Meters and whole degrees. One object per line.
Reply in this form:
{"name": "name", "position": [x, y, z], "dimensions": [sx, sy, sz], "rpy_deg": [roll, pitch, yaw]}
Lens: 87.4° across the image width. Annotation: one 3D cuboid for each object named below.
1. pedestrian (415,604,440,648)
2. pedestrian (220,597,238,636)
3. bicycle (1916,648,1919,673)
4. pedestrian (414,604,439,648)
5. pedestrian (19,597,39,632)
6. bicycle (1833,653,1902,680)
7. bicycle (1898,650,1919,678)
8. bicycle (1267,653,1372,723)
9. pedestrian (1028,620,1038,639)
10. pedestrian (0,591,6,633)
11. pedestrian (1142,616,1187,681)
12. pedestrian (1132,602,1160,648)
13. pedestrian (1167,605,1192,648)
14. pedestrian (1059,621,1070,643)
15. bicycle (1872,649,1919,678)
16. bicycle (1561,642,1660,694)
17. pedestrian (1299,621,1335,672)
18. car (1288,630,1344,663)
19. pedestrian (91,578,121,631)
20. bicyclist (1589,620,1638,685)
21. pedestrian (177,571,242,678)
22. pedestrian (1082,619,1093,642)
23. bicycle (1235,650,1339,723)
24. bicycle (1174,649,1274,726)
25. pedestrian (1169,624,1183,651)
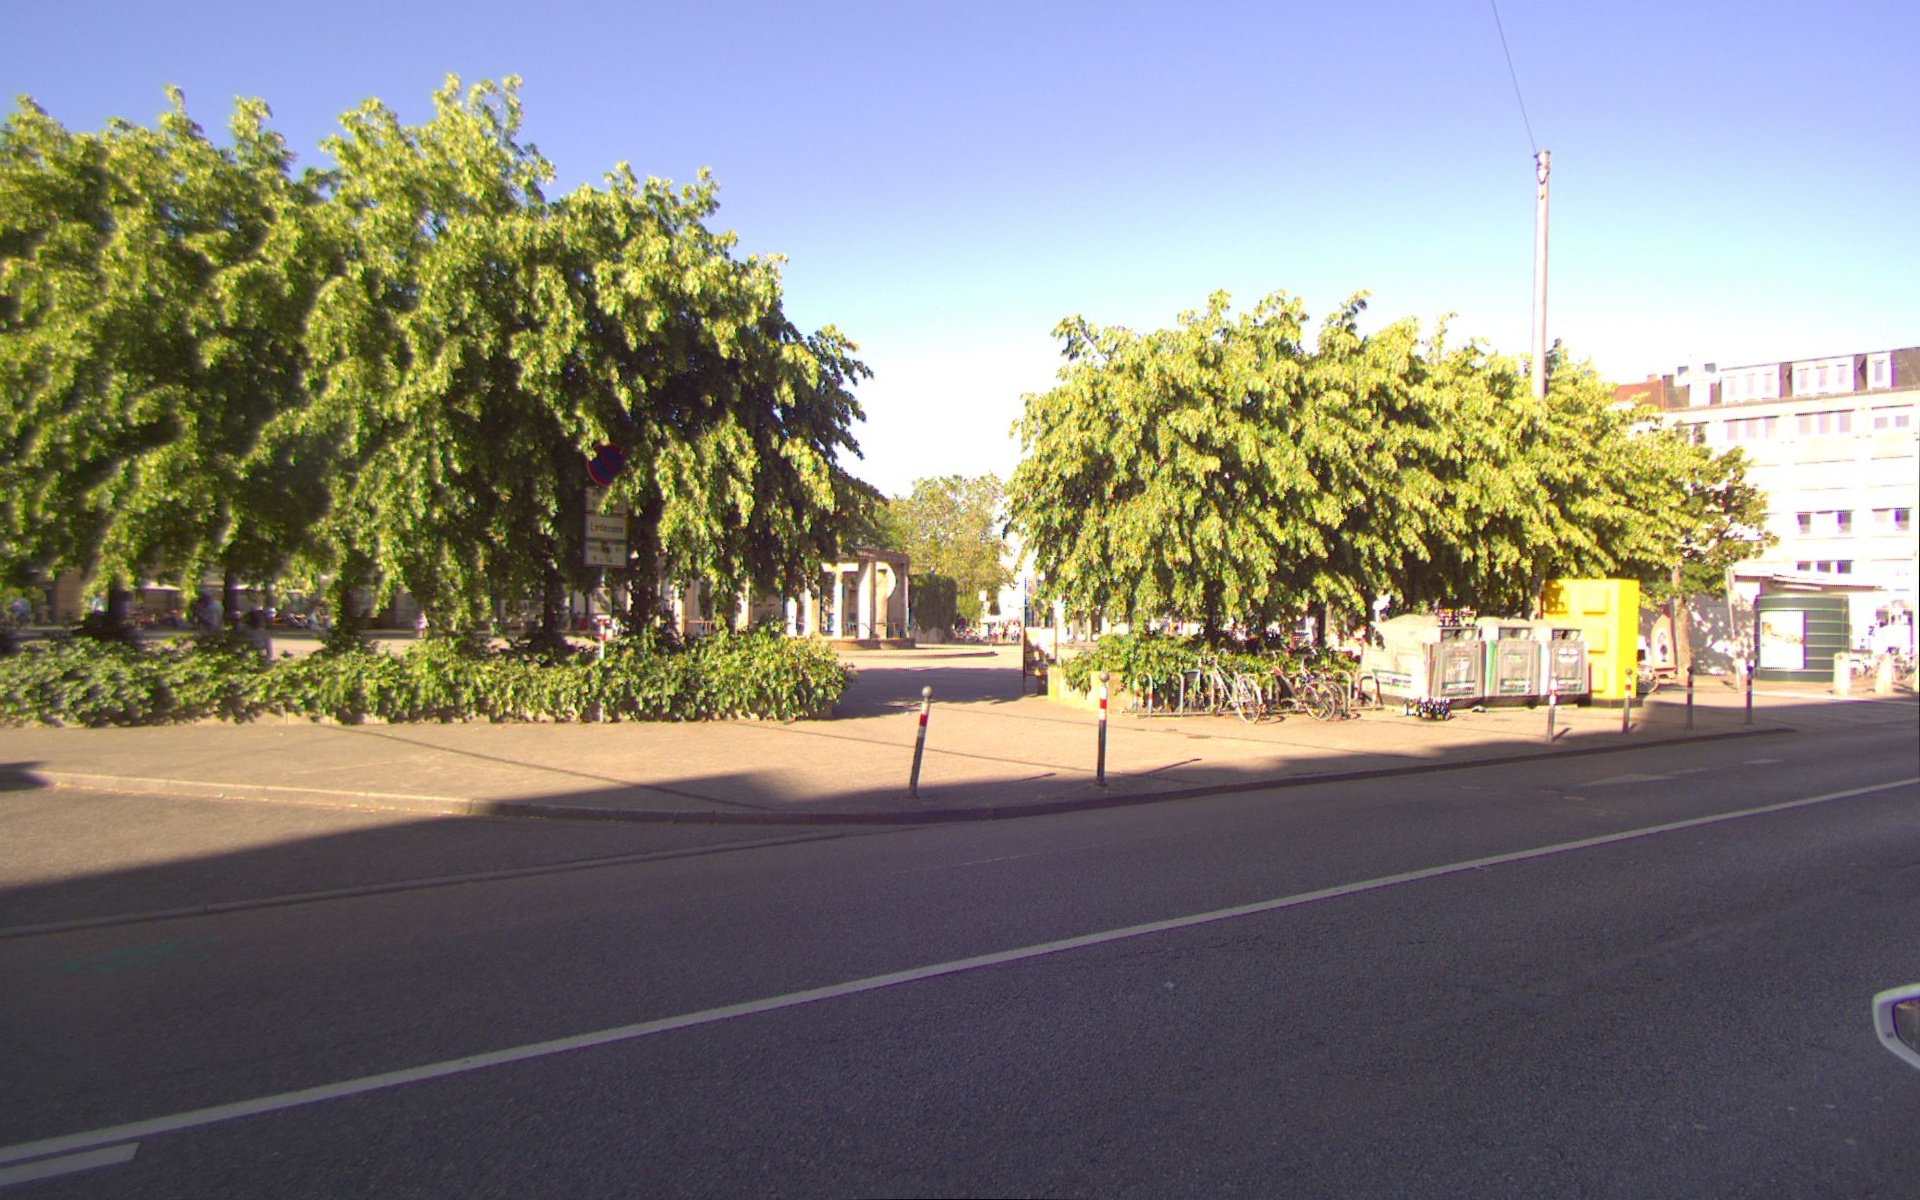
{"name": "pedestrian", "position": [-21.572, 1.048, 40.682], "dimensions": [0.599, 1.744, 0.644], "rpy_deg": [2, 0, 37]}
{"name": "pedestrian", "position": [-37.226, 0.846, 51.155], "dimensions": [0.669, 1.974, 0.634], "rpy_deg": [2, 0, -33]}
{"name": "bicycle", "position": [37.048, 2.327, 37.522], "dimensions": [0.599, 0.946, 1.854], "rpy_deg": [2, 0, -30]}
{"name": "pedestrian", "position": [-21.498, 1.049, 40.461], "dimensions": [0.598, 1.744, 0.645], "rpy_deg": [2, 0, 32]}
{"name": "pedestrian", "position": [-46.880, 0.716, 50.575], "dimensions": [0.599, 1.744, 0.644], "rpy_deg": [2, 0, 39]}
{"name": "bicycle", "position": [30.825, 2.248, 34.132], "dimensions": [0.600, 0.802, 1.634], "rpy_deg": [2, 0, -33]}
{"name": "bicycle", "position": [35.041, 2.334, 36.098], "dimensions": [0.599, 0.946, 1.854], "rpy_deg": [2, 0, -30]}
{"name": "bicycle", "position": [5.831, 1.403, 16.420], "dimensions": [0.508, 0.968, 1.898], "rpy_deg": [2, 0, -20]}
{"name": "pedestrian", "position": [7.965, 3.229, 109.775], "dimensions": [0.861, 2.040, 0.901], "rpy_deg": [2, 0, -9]}
{"name": "pedestrian", "position": [-39.716, 0.487, 41.317], "dimensions": [0.600, 1.744, 0.643], "rpy_deg": [2, 0, 45]}
{"name": "pedestrian", "position": [6.700, 1.574, 32.929], "dimensions": [0.967, 2.040, 1.042], "rpy_deg": [2, 0, -42]}
{"name": "pedestrian", "position": [8.365, 1.137, 45.182], "dimensions": [0.875, 2.040, 0.896], "rpy_deg": [1, 0, -17]}
{"name": "pedestrian", "position": [10.660, 1.280, 48.833], "dimensions": [0.875, 2.040, 0.896], "rpy_deg": [1, 0, -17]}
{"name": "pedestrian", "position": [10.056, 3.035, 96.420], "dimensions": [0.860, 2.040, 0.902], "rpy_deg": [2, 0, -5]}
{"name": "bicycle", "position": [33.202, 2.222, 35.110], "dimensions": [0.599, 0.946, 1.855], "rpy_deg": [1, -1, -30]}
{"name": "bicycle", "position": [15.582, 1.600, 24.085], "dimensions": [1.910, 1.133, 0.706], "rpy_deg": [1, -1, 39]}
{"name": "pedestrian", "position": [14.646, 1.906, 41.248], "dimensions": [1.034, 2.040, 1.038], "rpy_deg": [2, 0, -1]}
{"name": "car", "position": [16.930, 2.196, 47.892], "dimensions": [1.658, 1.405, 3.575], "rpy_deg": [1, -1, 5]}
{"name": "pedestrian", "position": [-28.436, 0.159, 33.444], "dimensions": [0.599, 1.744, 0.644], "rpy_deg": [2, 0, 41]}
{"name": "bicyclist", "position": [15.640, 1.235, 24.038], "dimensions": [0.880, 1.502, 0.698], "rpy_deg": [1, 0, 39]}
{"name": "pedestrian", "position": [-12.064, 0.396, 16.165], "dimensions": [0.615, 1.671, 0.654], "rpy_deg": [2, 0, -16]}
{"name": "pedestrian", "position": [12.674, 3.004, 99.747], "dimensions": [0.860, 2.199, 0.902], "rpy_deg": [2, 0, -5]}
{"name": "bicycle", "position": [5.262, 1.371, 16.303], "dimensions": [0.508, 1.016, 1.923], "rpy_deg": [2, 0, -20]}
{"name": "bicycle", "position": [4.075, 1.327, 15.659], "dimensions": [0.508, 1.029, 1.930], "rpy_deg": [2, 0, -19]}
{"name": "pedestrian", "position": [14.227, 2.435, 66.180], "dimensions": [0.741, 1.740, 0.854], "rpy_deg": [1, -1, 4]}
